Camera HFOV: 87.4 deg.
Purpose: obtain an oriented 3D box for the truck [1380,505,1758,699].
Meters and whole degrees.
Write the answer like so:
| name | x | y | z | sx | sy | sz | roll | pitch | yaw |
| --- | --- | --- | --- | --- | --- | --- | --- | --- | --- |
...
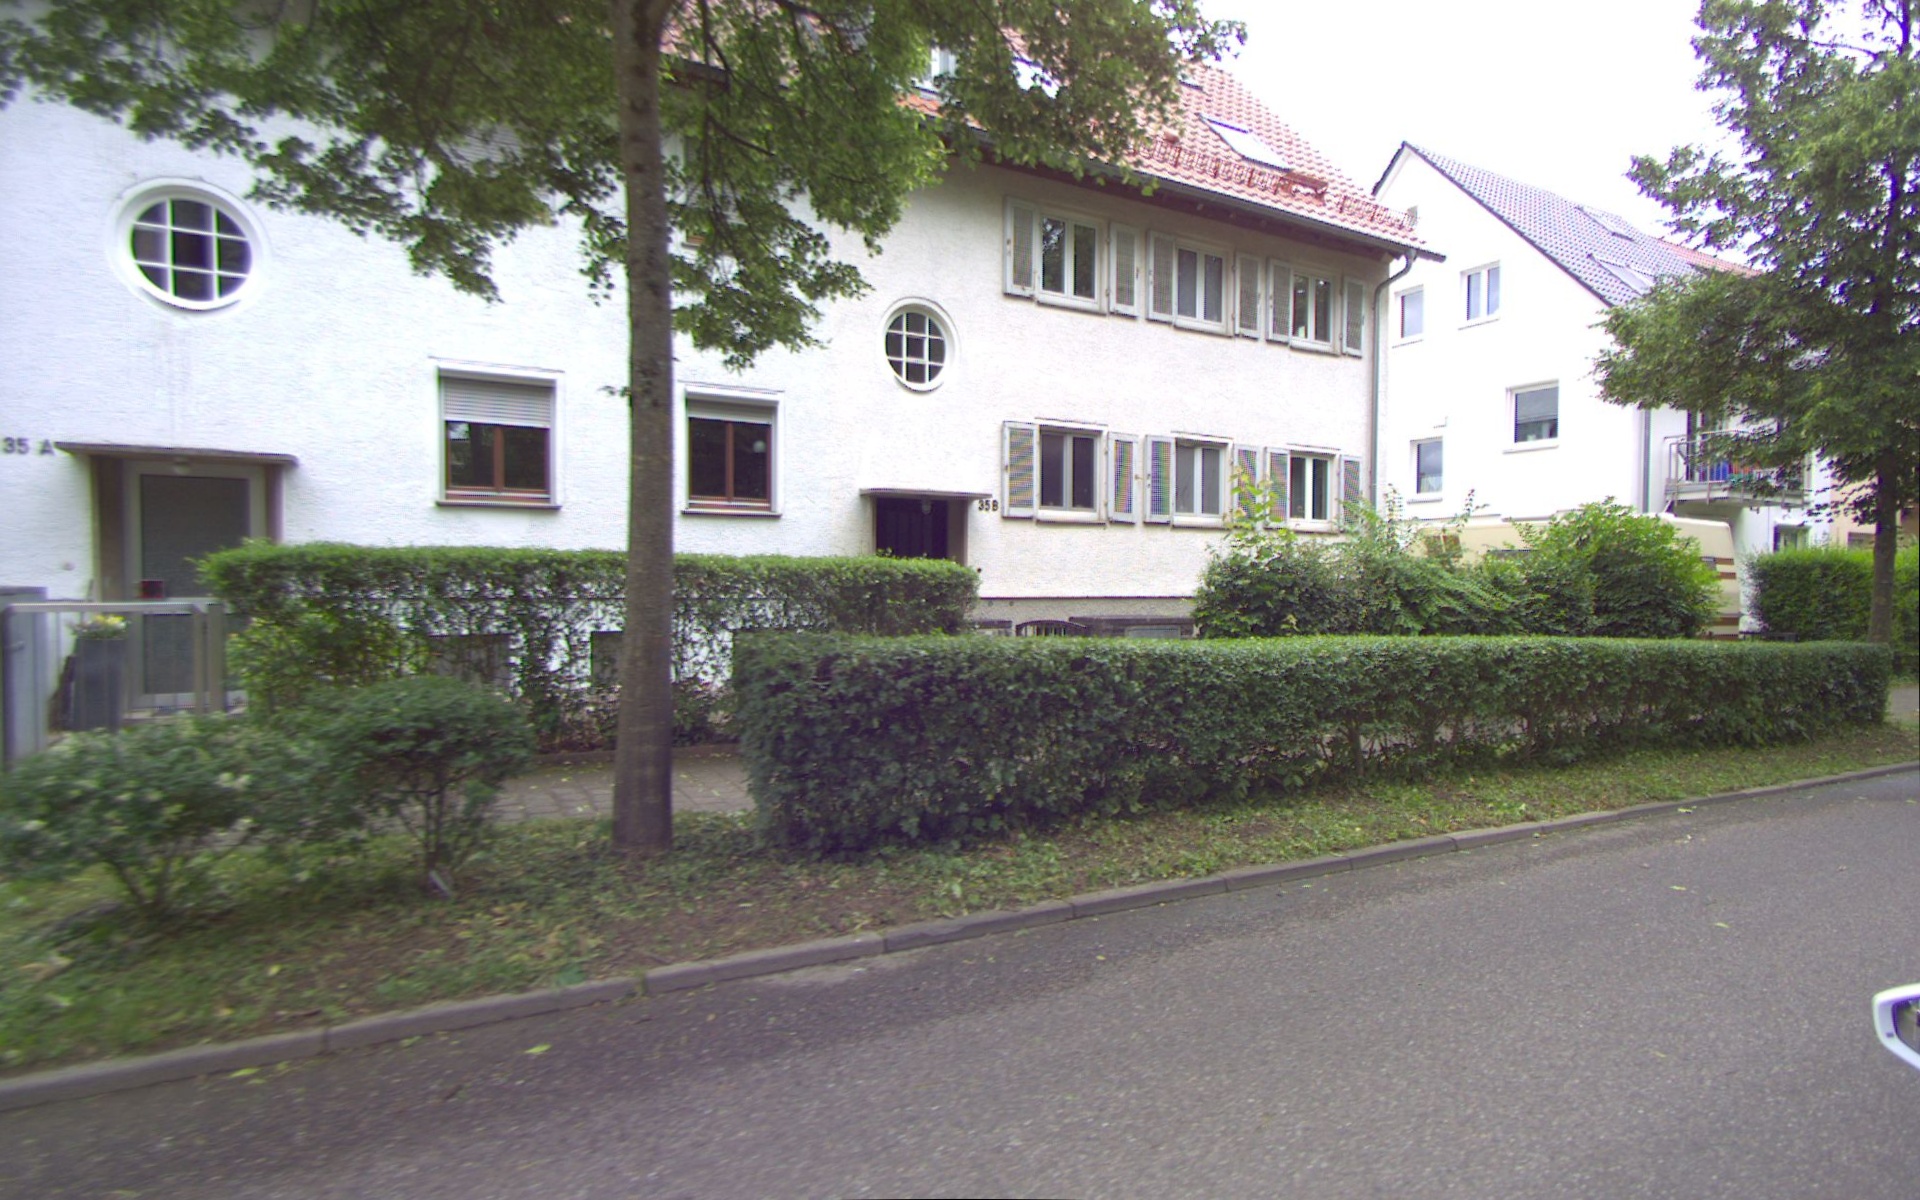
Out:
| name | x | y | z | sx | sy | sz | roll | pitch | yaw |
| --- | --- | --- | --- | --- | --- | --- | --- | --- | --- |
| truck | 11.500 | -0.011 | 19.566 | 2.488 | 3.173 | 5.768 | 1 | 1 | -30 |

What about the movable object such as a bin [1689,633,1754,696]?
| name | x | y | z | sx | sy | sz | roll | pitch | yaw |
| --- | --- | --- | --- | --- | --- | --- | --- | --- | --- |
| movable object such as a bin | 11.875 | 0.994 | 15.668 | 0.684 | 0.938 | 0.578 | 1 | -1 | -27 |
